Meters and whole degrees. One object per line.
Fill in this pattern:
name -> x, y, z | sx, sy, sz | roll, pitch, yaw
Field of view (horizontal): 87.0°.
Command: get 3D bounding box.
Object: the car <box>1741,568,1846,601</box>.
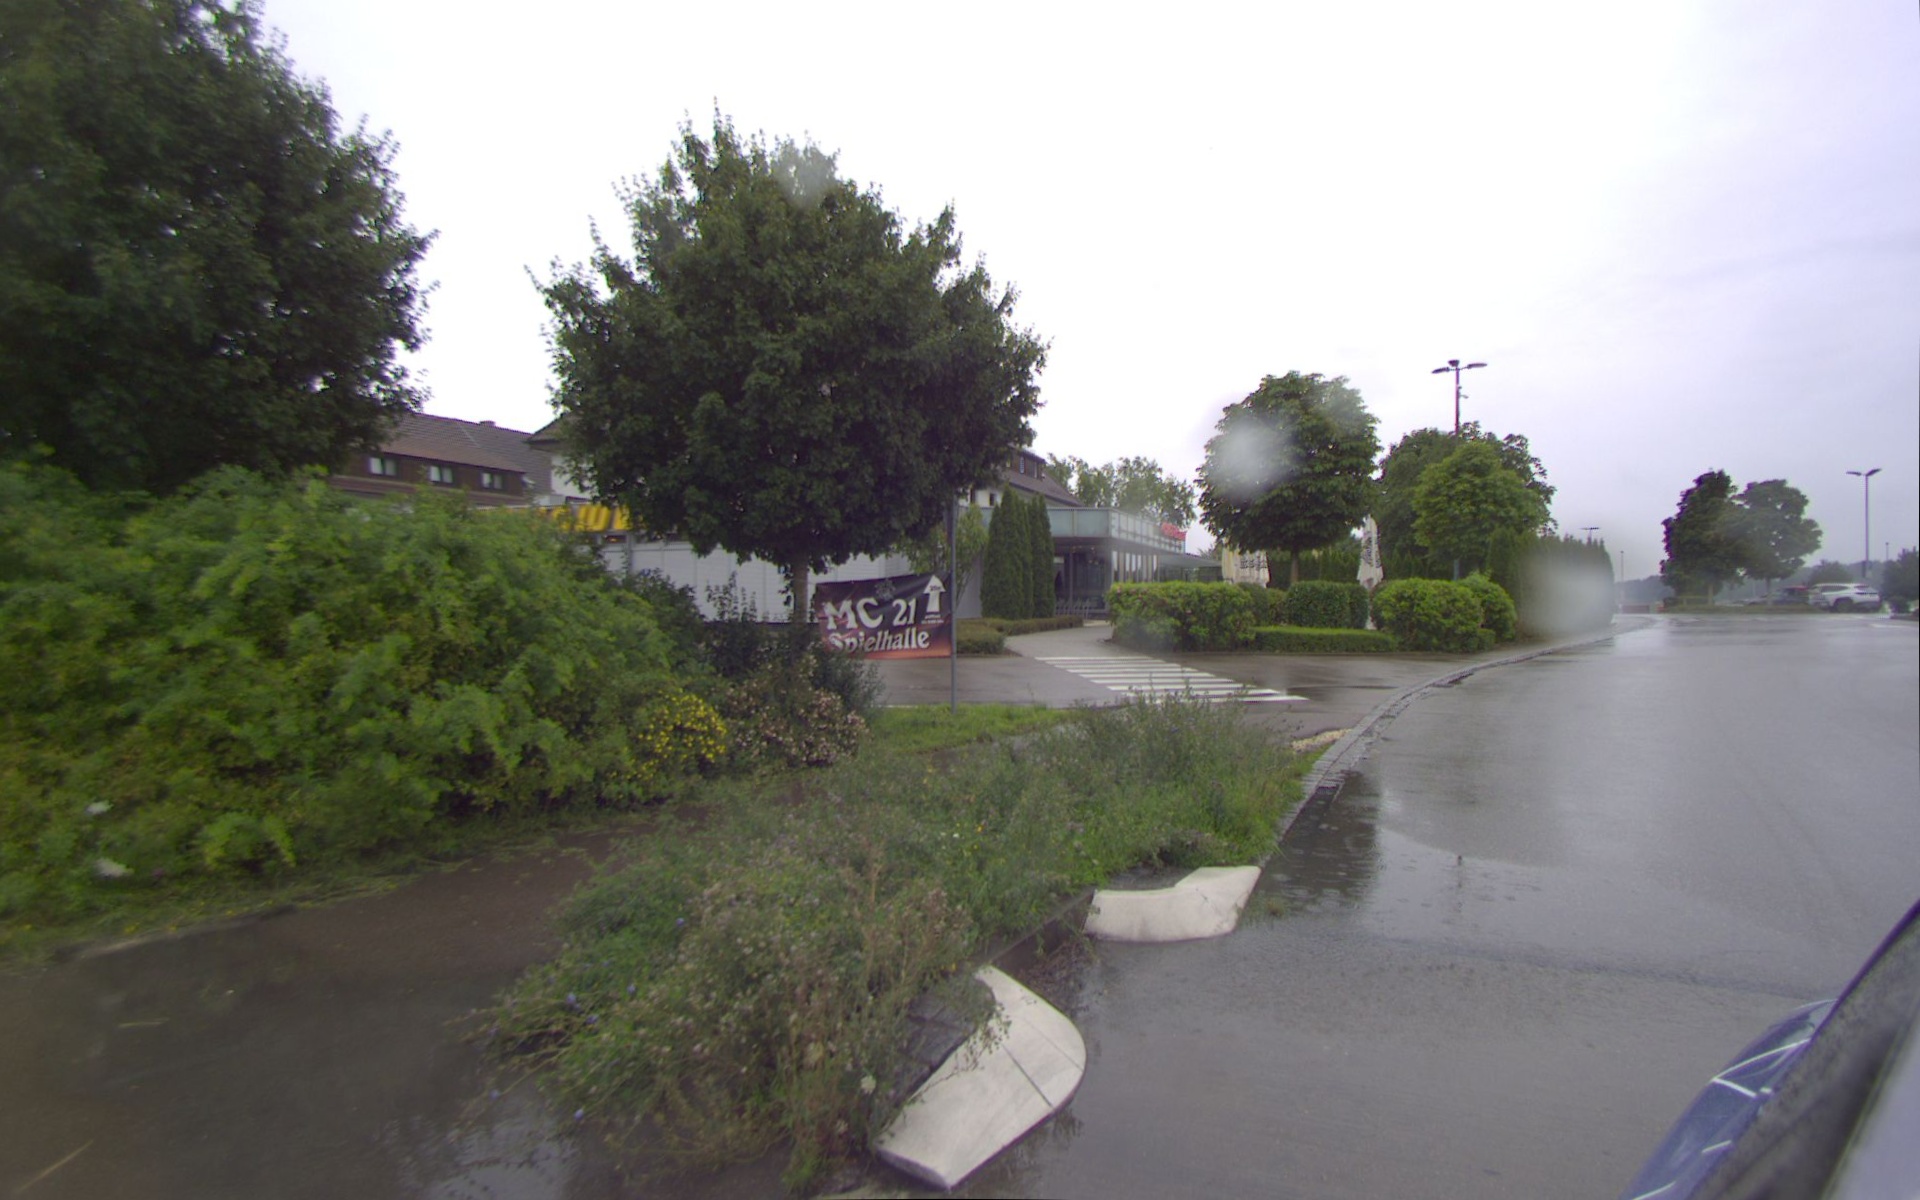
car -> 45.020, -0.829, 54.751 | 1.762, 1.714, 4.057 | -2, 1, -16

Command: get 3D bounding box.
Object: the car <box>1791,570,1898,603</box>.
car -> 47.975, -0.714, 54.979 | 1.678, 1.714, 4.055 | -2, 1, -24
